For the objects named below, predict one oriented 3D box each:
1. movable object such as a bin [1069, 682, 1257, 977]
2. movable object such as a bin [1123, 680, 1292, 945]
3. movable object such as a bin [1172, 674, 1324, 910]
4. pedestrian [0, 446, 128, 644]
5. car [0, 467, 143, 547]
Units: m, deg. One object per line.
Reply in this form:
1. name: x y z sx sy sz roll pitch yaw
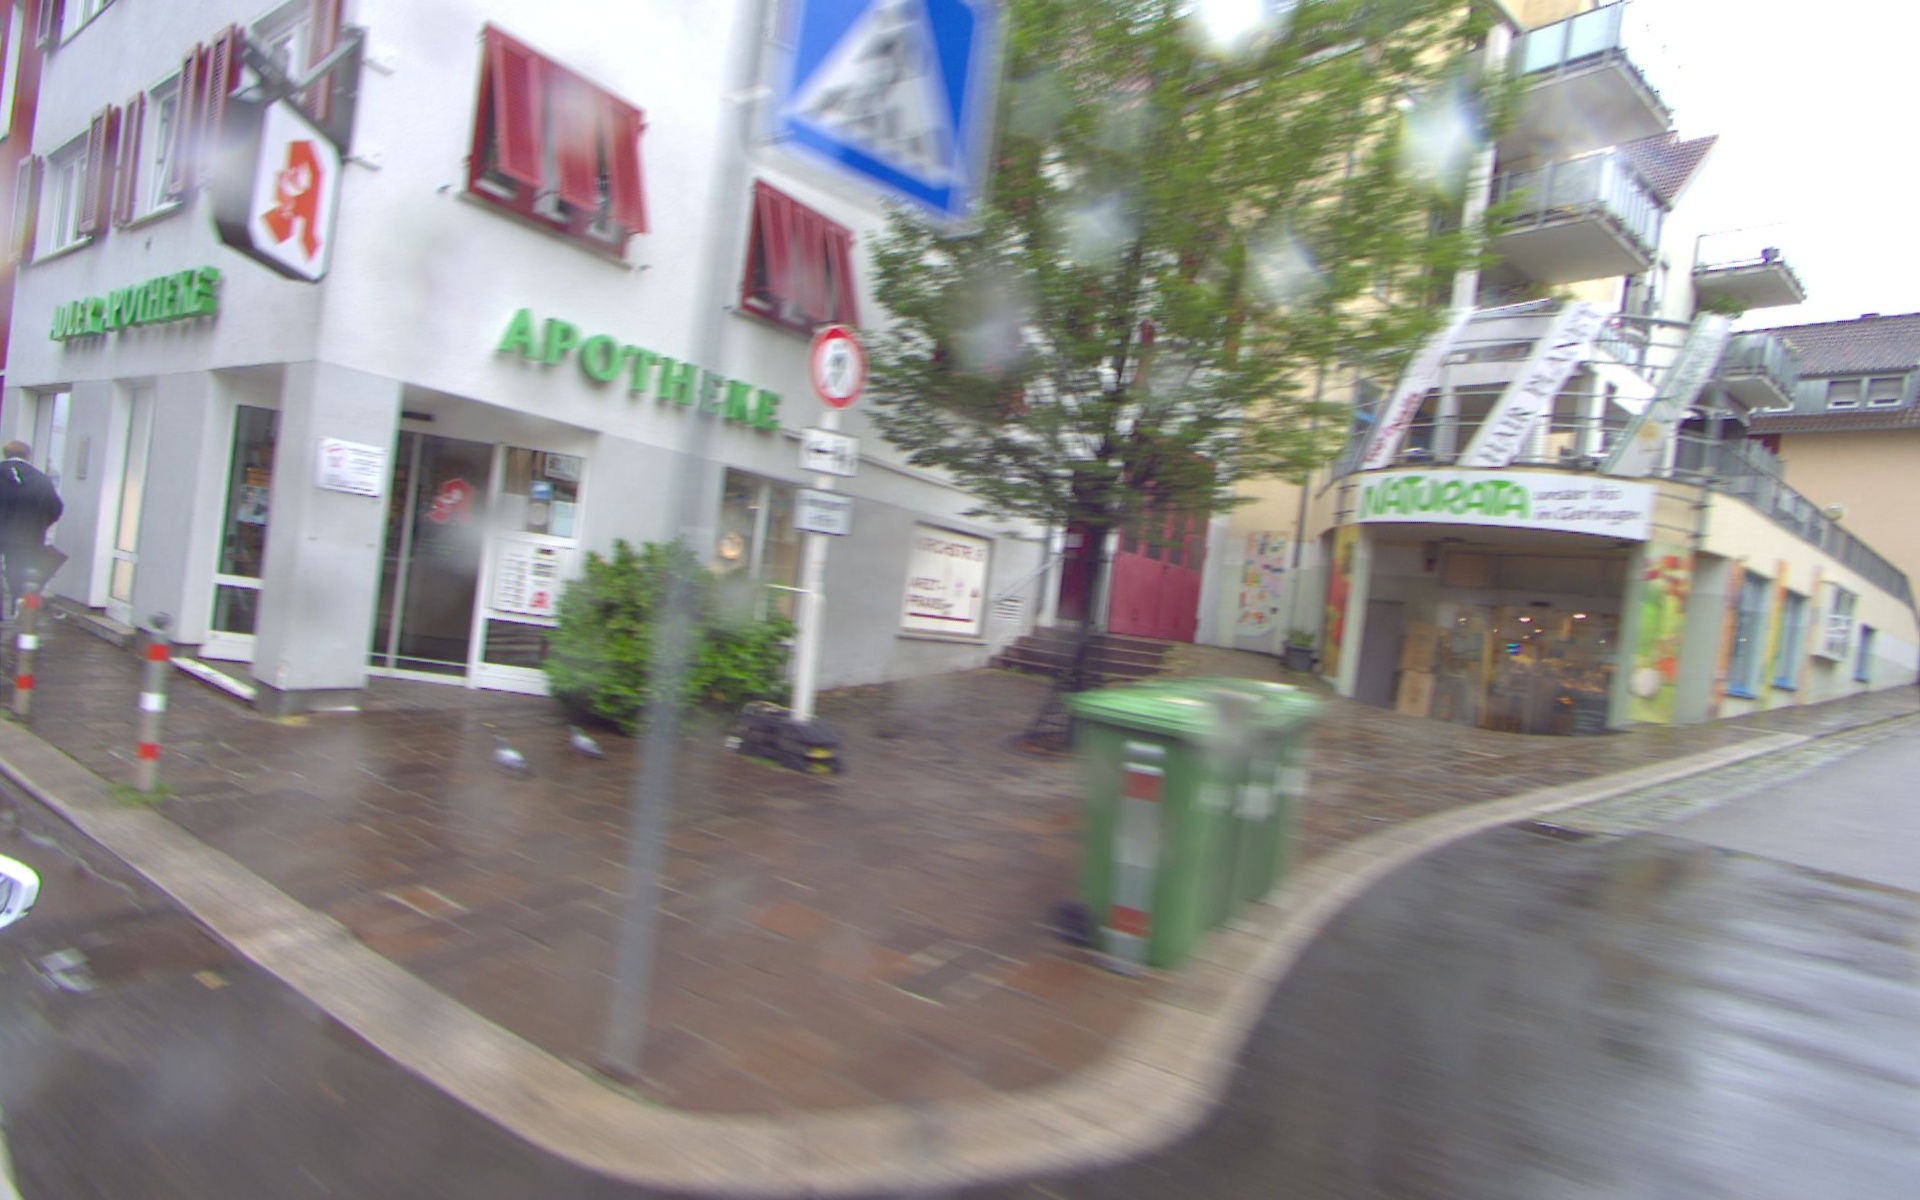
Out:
1. movable object such as a bin: 0.856 0.912 4.221 0.540 1.070 0.500 6 1 33
2. movable object such as a bin: 1.155 0.942 4.676 0.540 1.070 0.500 6 1 33
3. movable object such as a bin: 1.486 0.950 5.183 0.540 1.070 0.500 6 1 33
4. pedestrian: -8.742 -0.525 9.324 1.158 1.719 1.178 7 2 31
5. car: -22.195 -2.272 23.986 1.887 1.533 3.976 5 -1 44
